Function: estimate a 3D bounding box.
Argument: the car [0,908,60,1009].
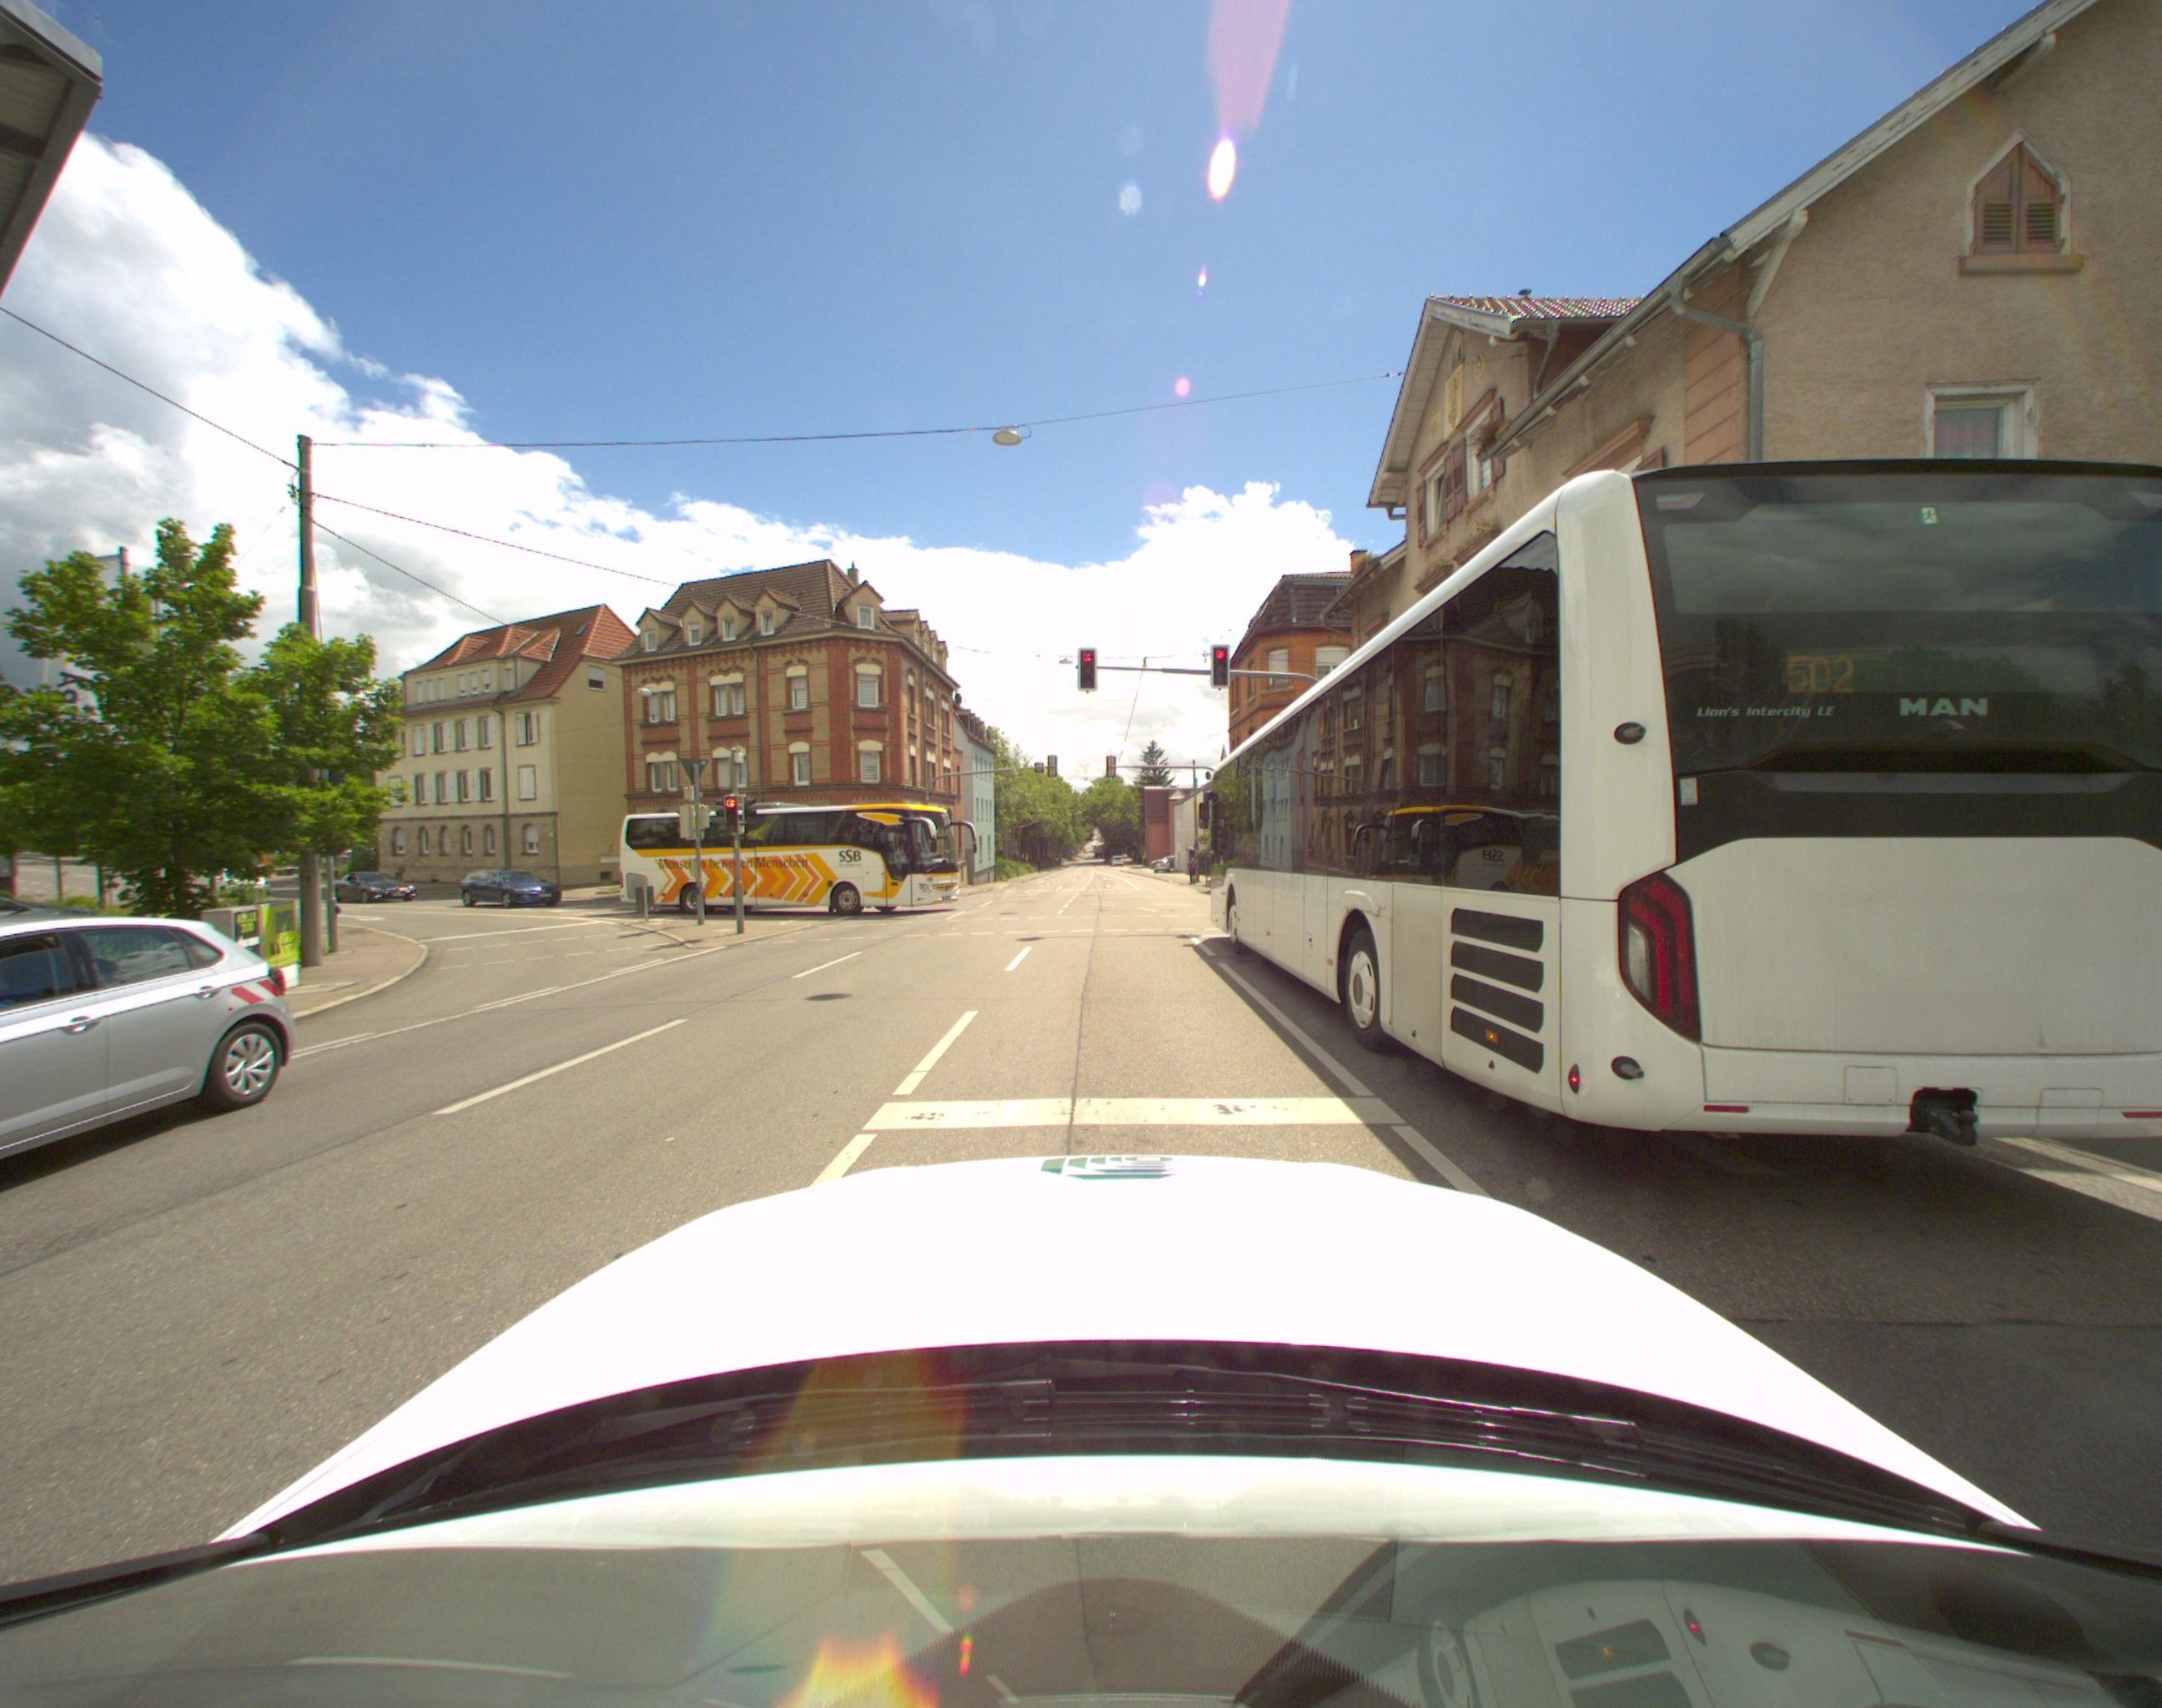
[{"bbox_3d":[-19.527,1.825,14.151,3.455,1.526,1.626,-1,2,29],"label":"car"}]

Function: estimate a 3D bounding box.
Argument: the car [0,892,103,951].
[{"bbox_3d":[-29.494,1.861,22.113,1.777,1.477,3.522,-2,0,32],"label":"car"}]

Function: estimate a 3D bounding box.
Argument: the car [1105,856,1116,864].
[{"bbox_3d":[5.292,0.999,145.926,1.787,1.409,4.421,-1,0,3],"label":"car"}]

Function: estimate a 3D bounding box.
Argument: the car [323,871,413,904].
[{"bbox_3d":[-33.260,1.571,37.977,3.949,1.409,1.923,-2,0,29],"label":"car"}]

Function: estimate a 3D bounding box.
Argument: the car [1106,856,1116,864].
[{"bbox_3d":[5.749,1.137,154.026,1.787,1.409,4.421,-1,0,3],"label":"car"}]

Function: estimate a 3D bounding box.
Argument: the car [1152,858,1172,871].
[{"bbox_3d":[9.228,1.180,93.029,1.788,1.409,4.000,-2,0,1],"label":"car"}]

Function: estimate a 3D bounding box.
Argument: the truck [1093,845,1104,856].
[{"bbox_3d":[5.176,-0.970,239.474,2.917,3.081,7.883,-2,0,0],"label":"truck"}]

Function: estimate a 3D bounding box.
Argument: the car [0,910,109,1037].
[{"bbox_3d":[-16.176,1.739,12.127,3.321,1.560,1.692,-1,2,32],"label":"car"}]

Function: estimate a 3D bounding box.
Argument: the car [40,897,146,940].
[{"bbox_3d":[-37.551,2.410,30.956,3.456,1.448,1.811,-2,0,26],"label":"car"}]

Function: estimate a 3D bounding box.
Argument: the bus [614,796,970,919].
[{"bbox_3d":[-9.851,0.156,27.300,12.123,3.621,2.785,-1,0,19],"label":"bus"}]

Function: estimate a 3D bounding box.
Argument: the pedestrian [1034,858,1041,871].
[{"bbox_3d":[-5.392,1.327,100.485,0.727,1.565,0.561,-1,-1,0],"label":"pedestrian"}]

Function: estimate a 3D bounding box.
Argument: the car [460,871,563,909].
[{"bbox_3d":[-23.000,1.449,32.876,3.949,1.409,1.762,-2,0,28],"label":"car"}]

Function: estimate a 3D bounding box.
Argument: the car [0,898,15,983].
[{"bbox_3d":[-23.472,1.787,16.564,3.455,1.680,1.663,-1,2,30],"label":"car"}]

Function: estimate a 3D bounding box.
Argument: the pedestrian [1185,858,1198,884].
[{"bbox_3d":[7.400,1.141,54.683,0.736,1.750,0.619,-2,0,1],"label":"pedestrian"}]

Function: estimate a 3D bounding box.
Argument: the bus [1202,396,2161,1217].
[{"bbox_3d":[3.486,-0.170,9.423,2.662,3.155,12.467,-2,0,2],"label":"bus"}]

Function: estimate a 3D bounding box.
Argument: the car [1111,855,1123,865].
[{"bbox_3d":[5.771,0.959,129.476,1.788,1.409,4.001,-1,0,1],"label":"car"}]

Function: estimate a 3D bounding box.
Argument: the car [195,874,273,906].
[{"bbox_3d":[-45.112,1.905,43.377,3.949,1.554,1.923,-2,0,29],"label":"car"}]

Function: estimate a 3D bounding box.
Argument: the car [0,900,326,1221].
[{"bbox_3d":[-6.198,1.094,4.159,1.882,1.418,3.602,-4,0,-15],"label":"car"}]

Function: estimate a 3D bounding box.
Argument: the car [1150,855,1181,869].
[{"bbox_3d":[11.776,1.051,113.085,3.978,1.757,1.998,-2,0,-3],"label":"car"}]

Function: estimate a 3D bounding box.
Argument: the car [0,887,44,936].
[{"bbox_3d":[-36.268,1.900,25.708,1.785,1.554,4.023,-2,0,25],"label":"car"}]
